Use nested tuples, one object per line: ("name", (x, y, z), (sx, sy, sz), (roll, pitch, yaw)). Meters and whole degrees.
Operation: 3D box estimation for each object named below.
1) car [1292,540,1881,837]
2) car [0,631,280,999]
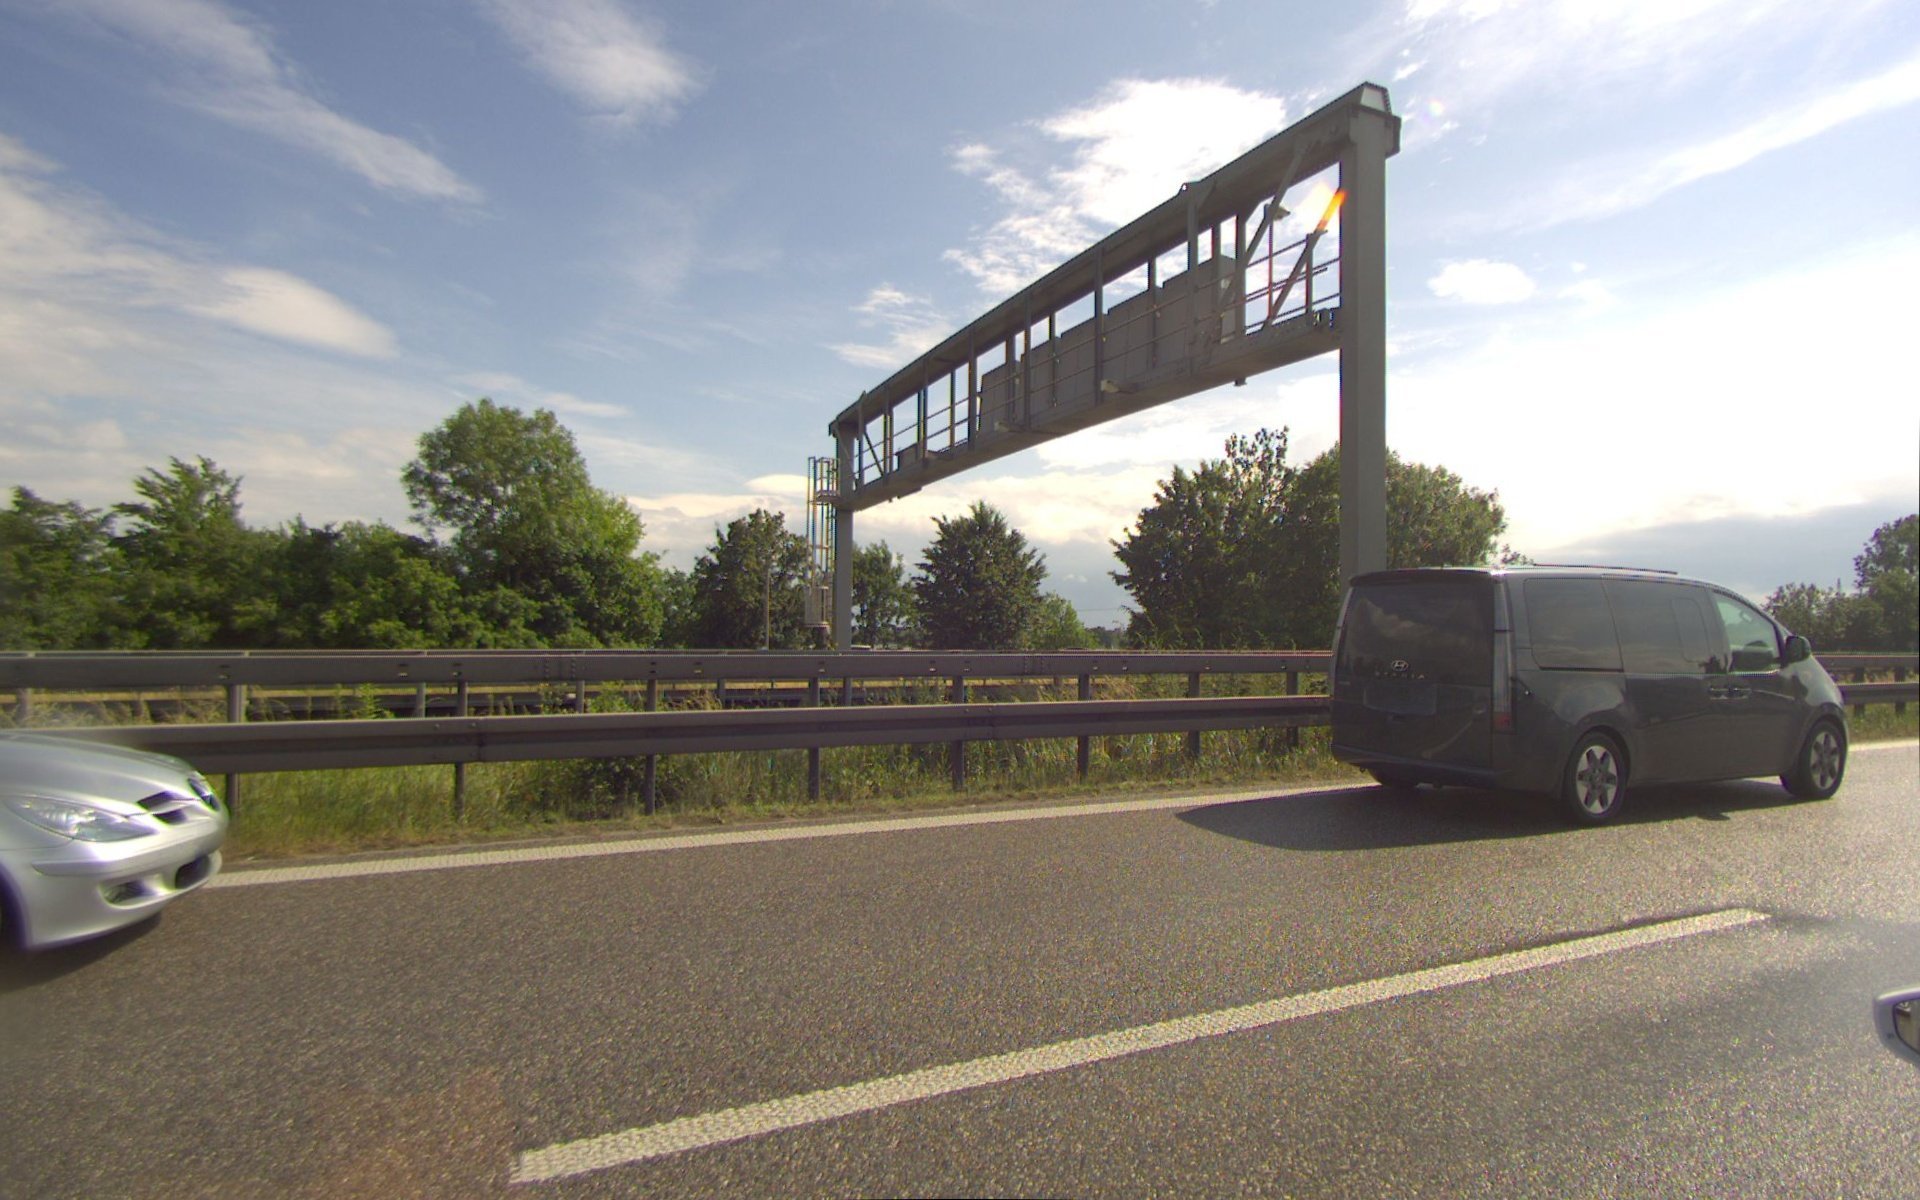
("car", (5.648, 0.673, 8.941), (5.199, 2.040, 1.987), (1, -1, -26))
("car", (-5.124, 0.774, 3.773), (4.010, 1.295, 1.718), (1, -1, -27))
